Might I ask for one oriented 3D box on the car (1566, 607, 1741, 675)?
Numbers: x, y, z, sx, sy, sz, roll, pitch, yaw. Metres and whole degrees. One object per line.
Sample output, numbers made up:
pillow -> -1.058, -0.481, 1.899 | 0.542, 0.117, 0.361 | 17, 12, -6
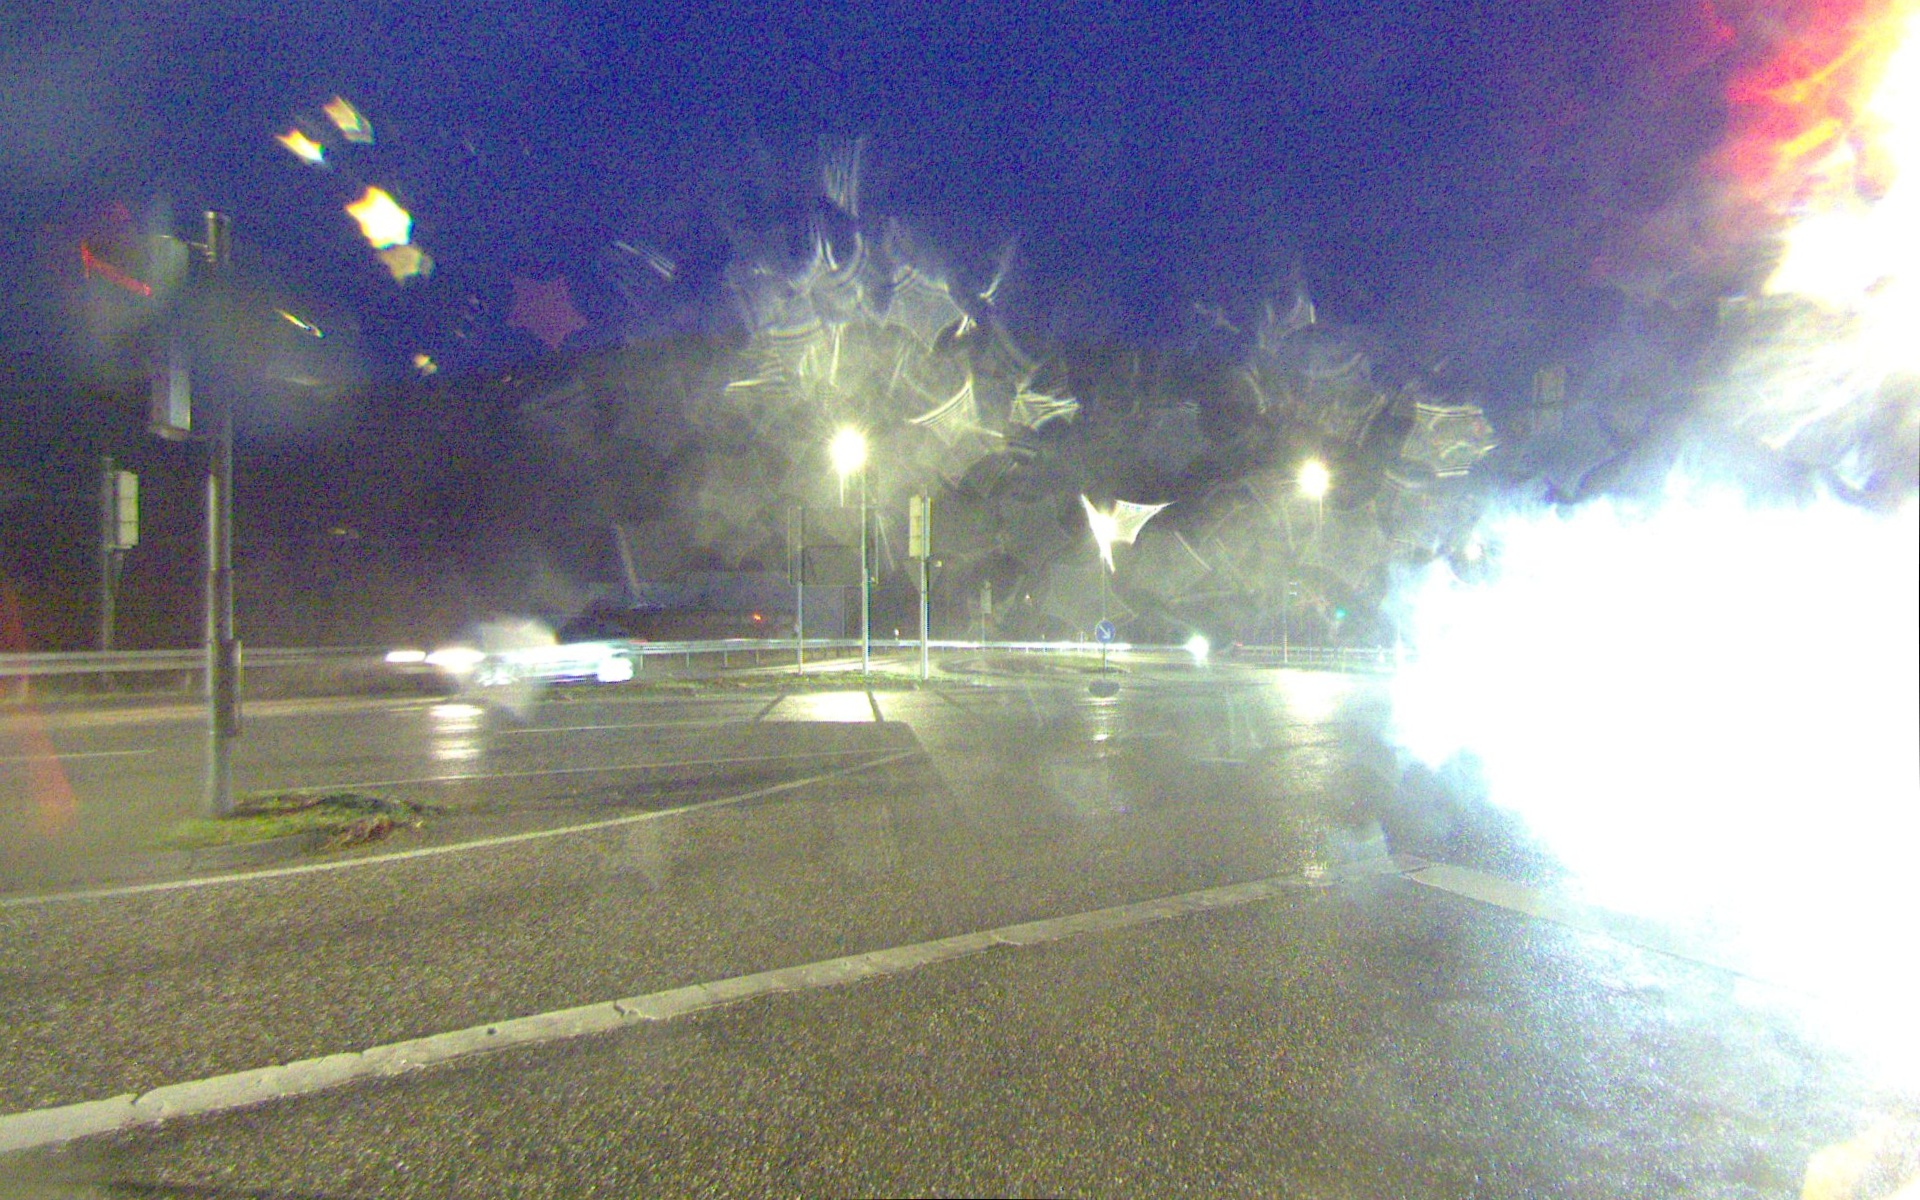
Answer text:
car -> 17.806, 1.023, 25.733 | 4.856, 1.592, 1.784 | 1, -1, -30

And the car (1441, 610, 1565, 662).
car -> 20.208, 1.299, 37.566 | 3.924, 1.856, 1.720 | 0, -1, 24

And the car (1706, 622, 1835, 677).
car -> 23.392, 1.434, 28.960 | 3.683, 1.473, 1.660 | 2, -1, -29

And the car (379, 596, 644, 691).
car -> -7.996, 0.821, 18.390 | 1.628, 1.518, 4.370 | -2, -3, 27

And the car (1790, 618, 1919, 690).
car -> 22.261, 1.269, 24.346 | 4.653, 1.592, 1.692 | 1, -1, -29

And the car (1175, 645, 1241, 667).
car -> 17.871, 4.038, 72.378 | 4.072, 1.468, 2.172 | 2, -1, -19
